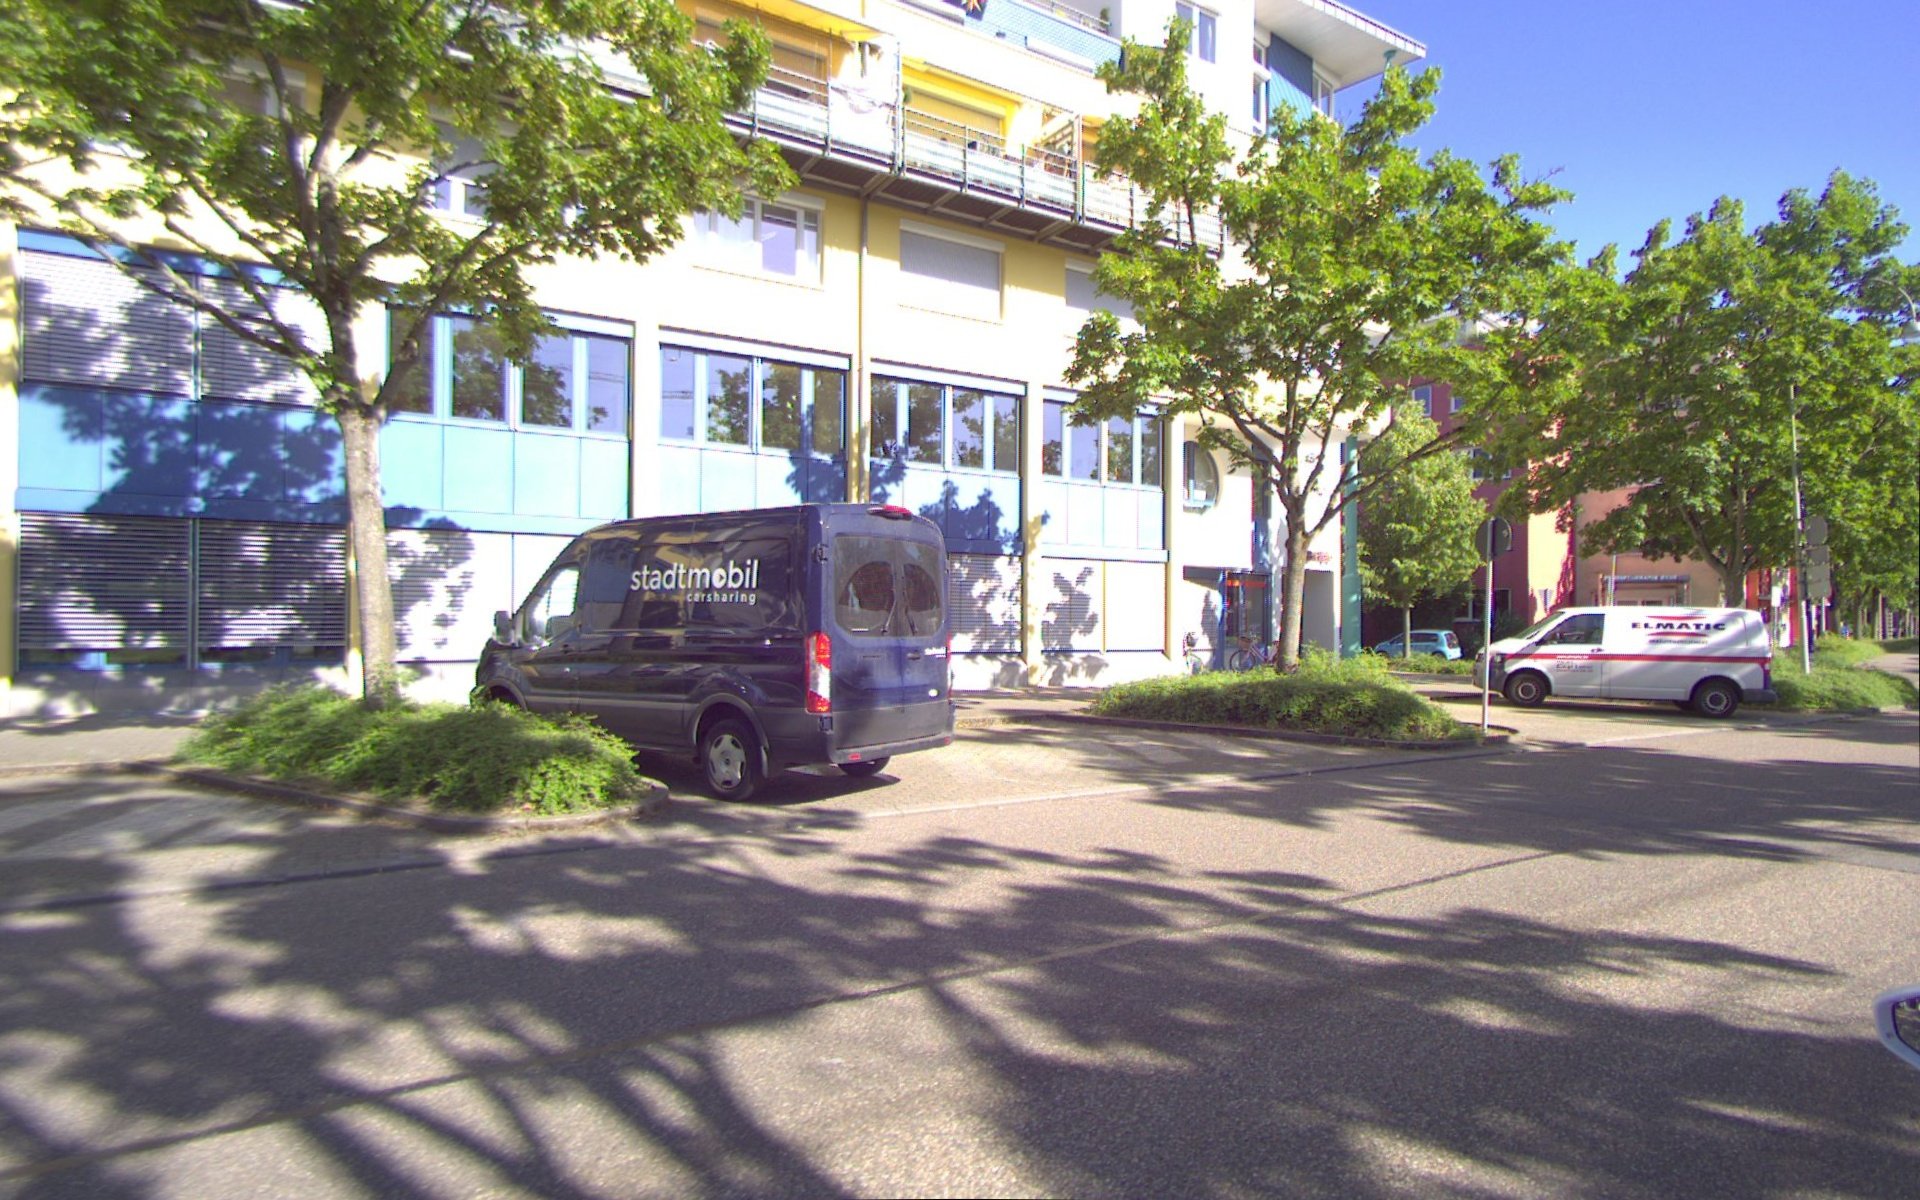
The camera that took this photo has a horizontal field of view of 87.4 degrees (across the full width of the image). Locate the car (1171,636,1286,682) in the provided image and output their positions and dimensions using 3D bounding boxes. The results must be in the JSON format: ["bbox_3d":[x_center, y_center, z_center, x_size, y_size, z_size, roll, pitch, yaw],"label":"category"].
[{"bbox_3d":[11.002,2.394,41.346,1.986,1.615,4.194,0,0,-43],"label":"car"}]

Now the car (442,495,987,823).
[{"bbox_3d":[-2.605,0.427,9.967,5.412,2.469,2.180,1,0,34],"label":"car"}]

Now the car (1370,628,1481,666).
[{"bbox_3d":[20.246,2.011,43.748,1.923,1.470,3.957,-2,0,-43],"label":"car"}]

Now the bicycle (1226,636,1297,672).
[{"bbox_3d":[8.089,1.429,26.977,1.769,0.883,0.492,1,0,23],"label":"bicycle"}]

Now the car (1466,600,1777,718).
[{"bbox_3d":[12.466,1.035,19.357,4.679,2.012,1.999,1,0,23],"label":"car"}]

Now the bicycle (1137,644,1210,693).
[{"bbox_3d":[5.066,1.615,23.962,0.693,1.112,1.790,1,-2,-30],"label":"bicycle"}]
